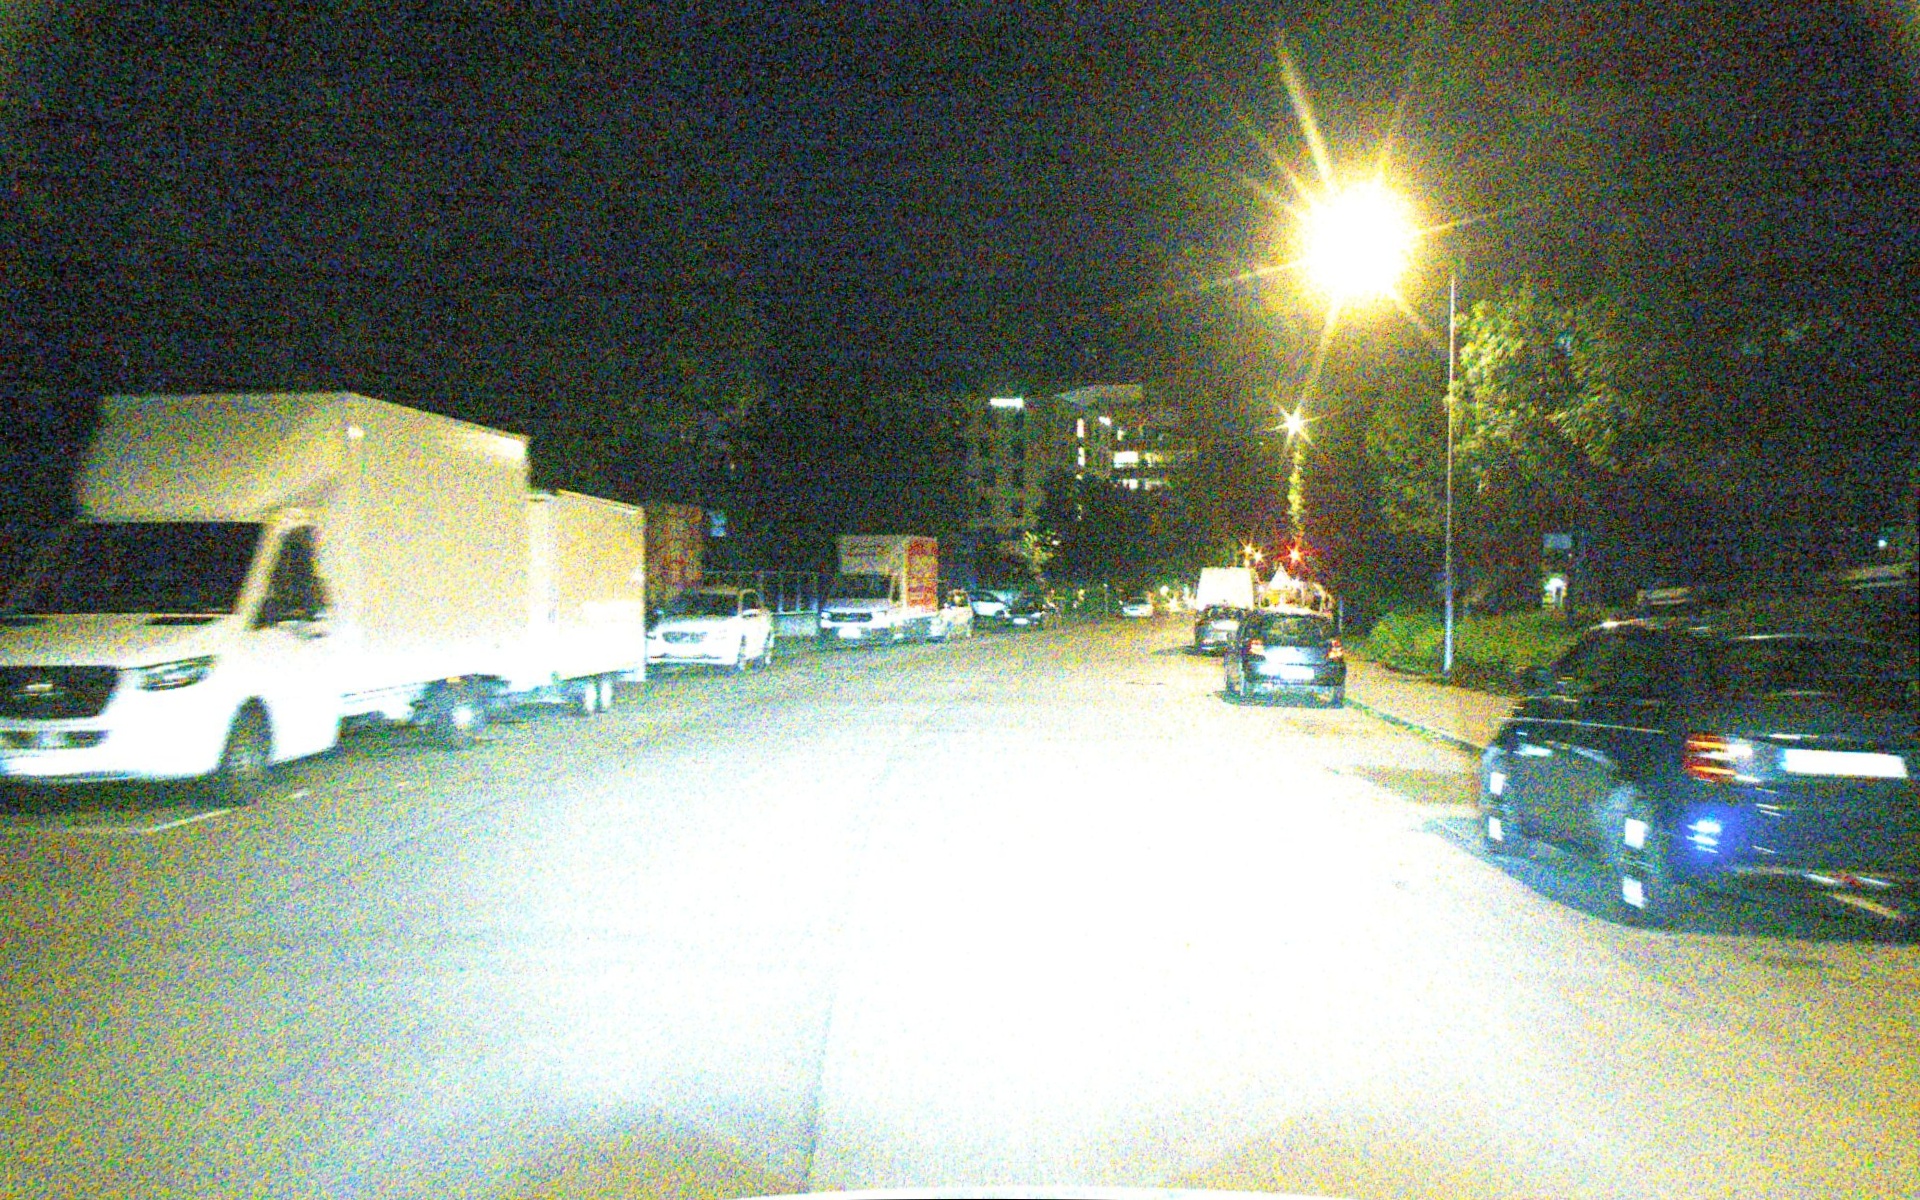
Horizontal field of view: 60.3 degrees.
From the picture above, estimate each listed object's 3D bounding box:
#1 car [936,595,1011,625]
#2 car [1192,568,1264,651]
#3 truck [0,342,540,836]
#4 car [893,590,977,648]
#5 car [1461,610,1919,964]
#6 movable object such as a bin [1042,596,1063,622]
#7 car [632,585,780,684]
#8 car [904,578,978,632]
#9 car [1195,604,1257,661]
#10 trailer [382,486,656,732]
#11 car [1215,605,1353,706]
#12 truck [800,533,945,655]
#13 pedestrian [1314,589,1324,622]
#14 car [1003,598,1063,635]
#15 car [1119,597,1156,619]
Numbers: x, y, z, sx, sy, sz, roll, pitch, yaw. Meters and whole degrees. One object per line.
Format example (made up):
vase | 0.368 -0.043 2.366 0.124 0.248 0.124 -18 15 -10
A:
car | 0.780 0.569 93.948 3.902 1.598 1.819 -1 0 13
car | 8.927 0.278 54.743 1.977 2.570 6.056 1 0 13
truck | -6.039 -0.088 14.737 2.323 3.300 7.235 0 0 4
car | -0.776 0.597 55.383 1.790 1.848 4.842 0 0 12
car | 4.214 0.878 9.482 1.575 1.538 3.826 2 0 2
movable object such as a bin | 5.613 0.541 99.940 1.139 1.522 1.066 0 0 11
car | -4.886 0.618 32.508 1.952 1.803 4.694 0 0 3
car | -0.822 0.229 76.572 1.951 2.362 4.969 -2 0 17
car | 7.652 0.896 47.545 1.674 1.534 4.644 0 0 9
trailer | -5.528 0.096 21.440 2.158 2.844 4.618 0 0 2
car | 5.398 0.876 27.952 1.675 1.534 4.001 1 0 2
truck | -2.458 -0.180 49.059 2.489 3.338 7.318 0 0 12
pedestrian | 20.571 0.307 94.786 0.558 1.885 0.821 0 0 14
car | 3.274 0.733 73.304 1.718 1.553 4.325 2 -1 15
car | 12.056 0.553 112.155 1.870 1.428 4.341 0 0 14
